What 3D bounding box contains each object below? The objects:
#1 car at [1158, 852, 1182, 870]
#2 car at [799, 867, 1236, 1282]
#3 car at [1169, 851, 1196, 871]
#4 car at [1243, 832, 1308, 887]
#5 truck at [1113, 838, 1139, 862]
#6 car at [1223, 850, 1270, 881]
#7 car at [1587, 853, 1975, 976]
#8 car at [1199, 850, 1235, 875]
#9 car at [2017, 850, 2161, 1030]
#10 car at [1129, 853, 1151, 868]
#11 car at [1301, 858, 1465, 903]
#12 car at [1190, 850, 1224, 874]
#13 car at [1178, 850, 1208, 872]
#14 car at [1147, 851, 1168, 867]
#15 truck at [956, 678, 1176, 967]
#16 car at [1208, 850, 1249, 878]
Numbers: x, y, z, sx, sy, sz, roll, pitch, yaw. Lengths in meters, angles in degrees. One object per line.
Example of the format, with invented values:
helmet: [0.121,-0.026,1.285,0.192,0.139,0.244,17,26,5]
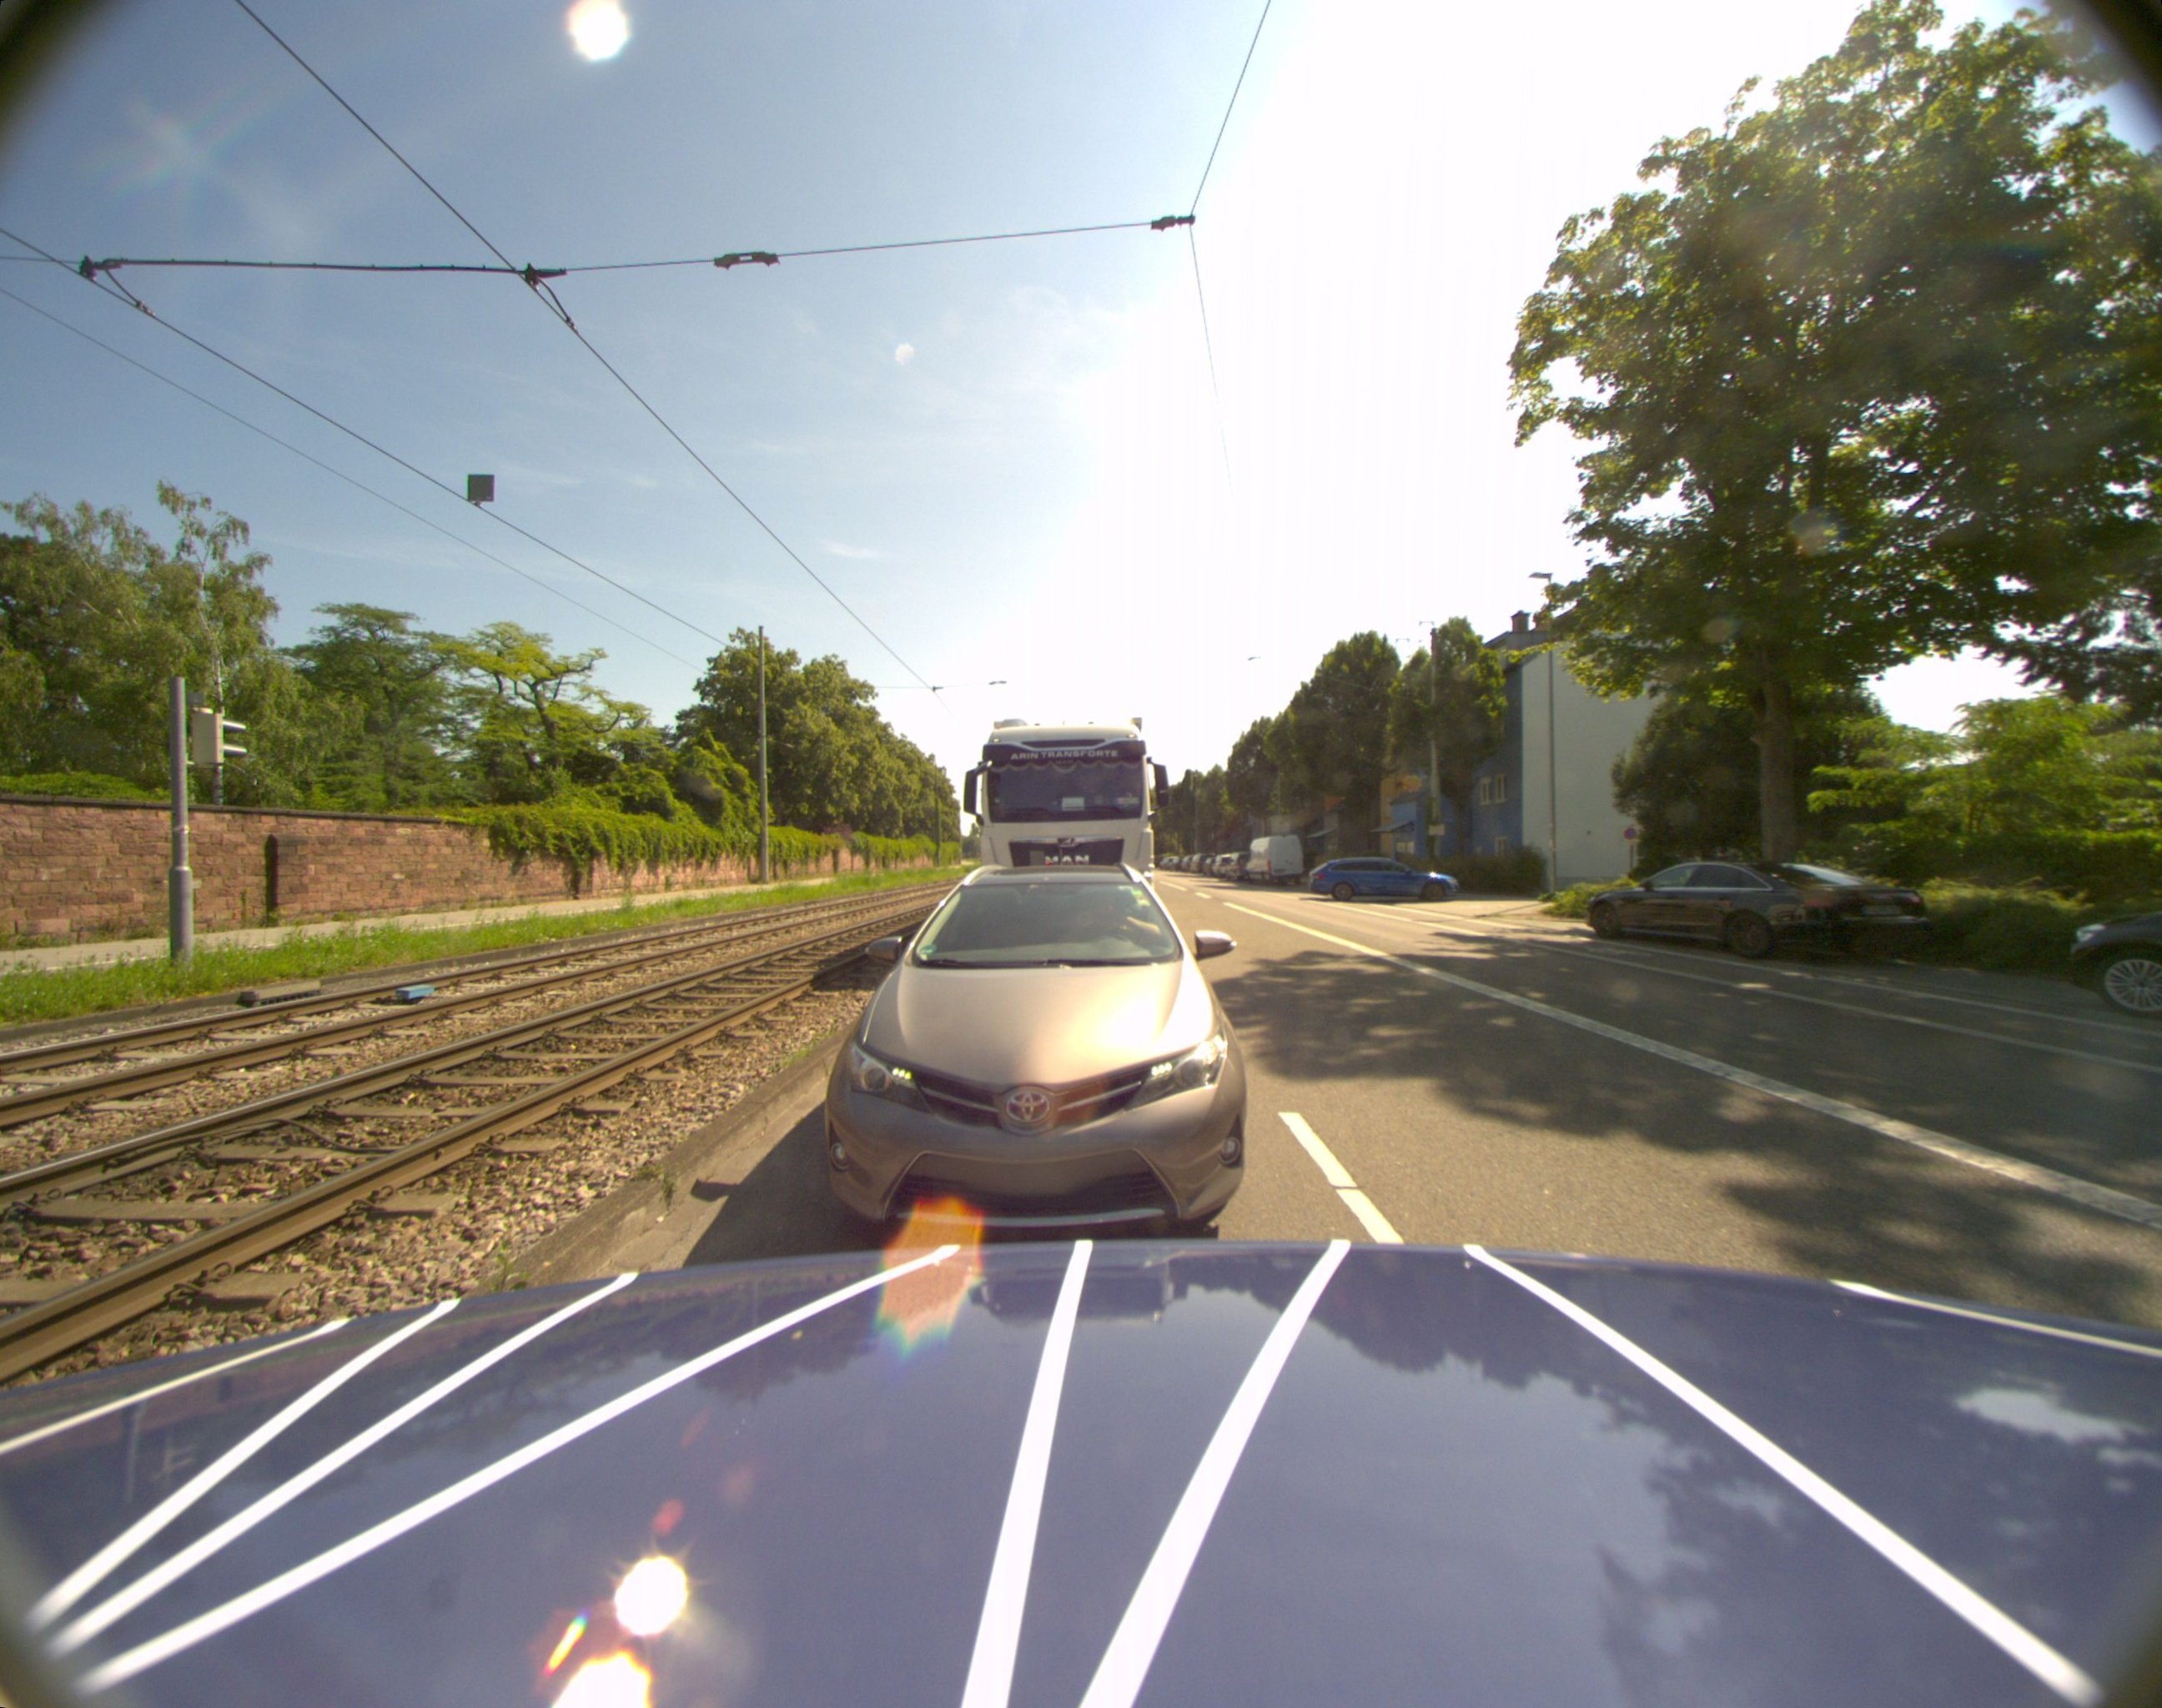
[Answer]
car: [10.048,0.760,85.823,1.999,1.795,4.769,-6,0,0]
car: [-0.206,0.833,4.742,1.573,1.422,4.000,0,0,1]
car: [10.507,0.735,79.145,1.999,1.795,4.769,-6,0,0]
car: [10.892,0.290,43.069,1.998,2.678,6.214,-6,0,2]
truck: [6.872,-0.510,116.067,2.704,3.263,6.724,-6,0,-5]
car: [11.124,0.744,51.395,1.999,1.795,4.769,-6,0,0]
car: [10.606,0.776,12.137,1.868,1.562,4.621,-1,0,-2]
car: [11.189,0.691,62.842,1.999,1.795,4.256,-6,0,0]
car: [10.618,0.764,5.547,1.868,1.562,4.622,-2,0,0]
car: [8.179,0.943,105.544,1.999,1.795,5.111,-6,0,-5]
car: [10.183,0.846,26.027,5.064,1.422,1.893,0,0,17]
car: [11.155,0.683,67.654,1.999,1.795,4.769,-6,0,0]
car: [10.766,0.672,73.356,1.999,1.795,4.769,-6,0,0]
car: [9.718,0.664,96.792,1.999,1.795,4.769,-6,0,0]
truck: [-0.119,-0.424,17.611,2.935,3.856,14.913,0,0,1]
car: [11.057,0.743,57.359,1.999,1.795,4.769,-6,0,0]
